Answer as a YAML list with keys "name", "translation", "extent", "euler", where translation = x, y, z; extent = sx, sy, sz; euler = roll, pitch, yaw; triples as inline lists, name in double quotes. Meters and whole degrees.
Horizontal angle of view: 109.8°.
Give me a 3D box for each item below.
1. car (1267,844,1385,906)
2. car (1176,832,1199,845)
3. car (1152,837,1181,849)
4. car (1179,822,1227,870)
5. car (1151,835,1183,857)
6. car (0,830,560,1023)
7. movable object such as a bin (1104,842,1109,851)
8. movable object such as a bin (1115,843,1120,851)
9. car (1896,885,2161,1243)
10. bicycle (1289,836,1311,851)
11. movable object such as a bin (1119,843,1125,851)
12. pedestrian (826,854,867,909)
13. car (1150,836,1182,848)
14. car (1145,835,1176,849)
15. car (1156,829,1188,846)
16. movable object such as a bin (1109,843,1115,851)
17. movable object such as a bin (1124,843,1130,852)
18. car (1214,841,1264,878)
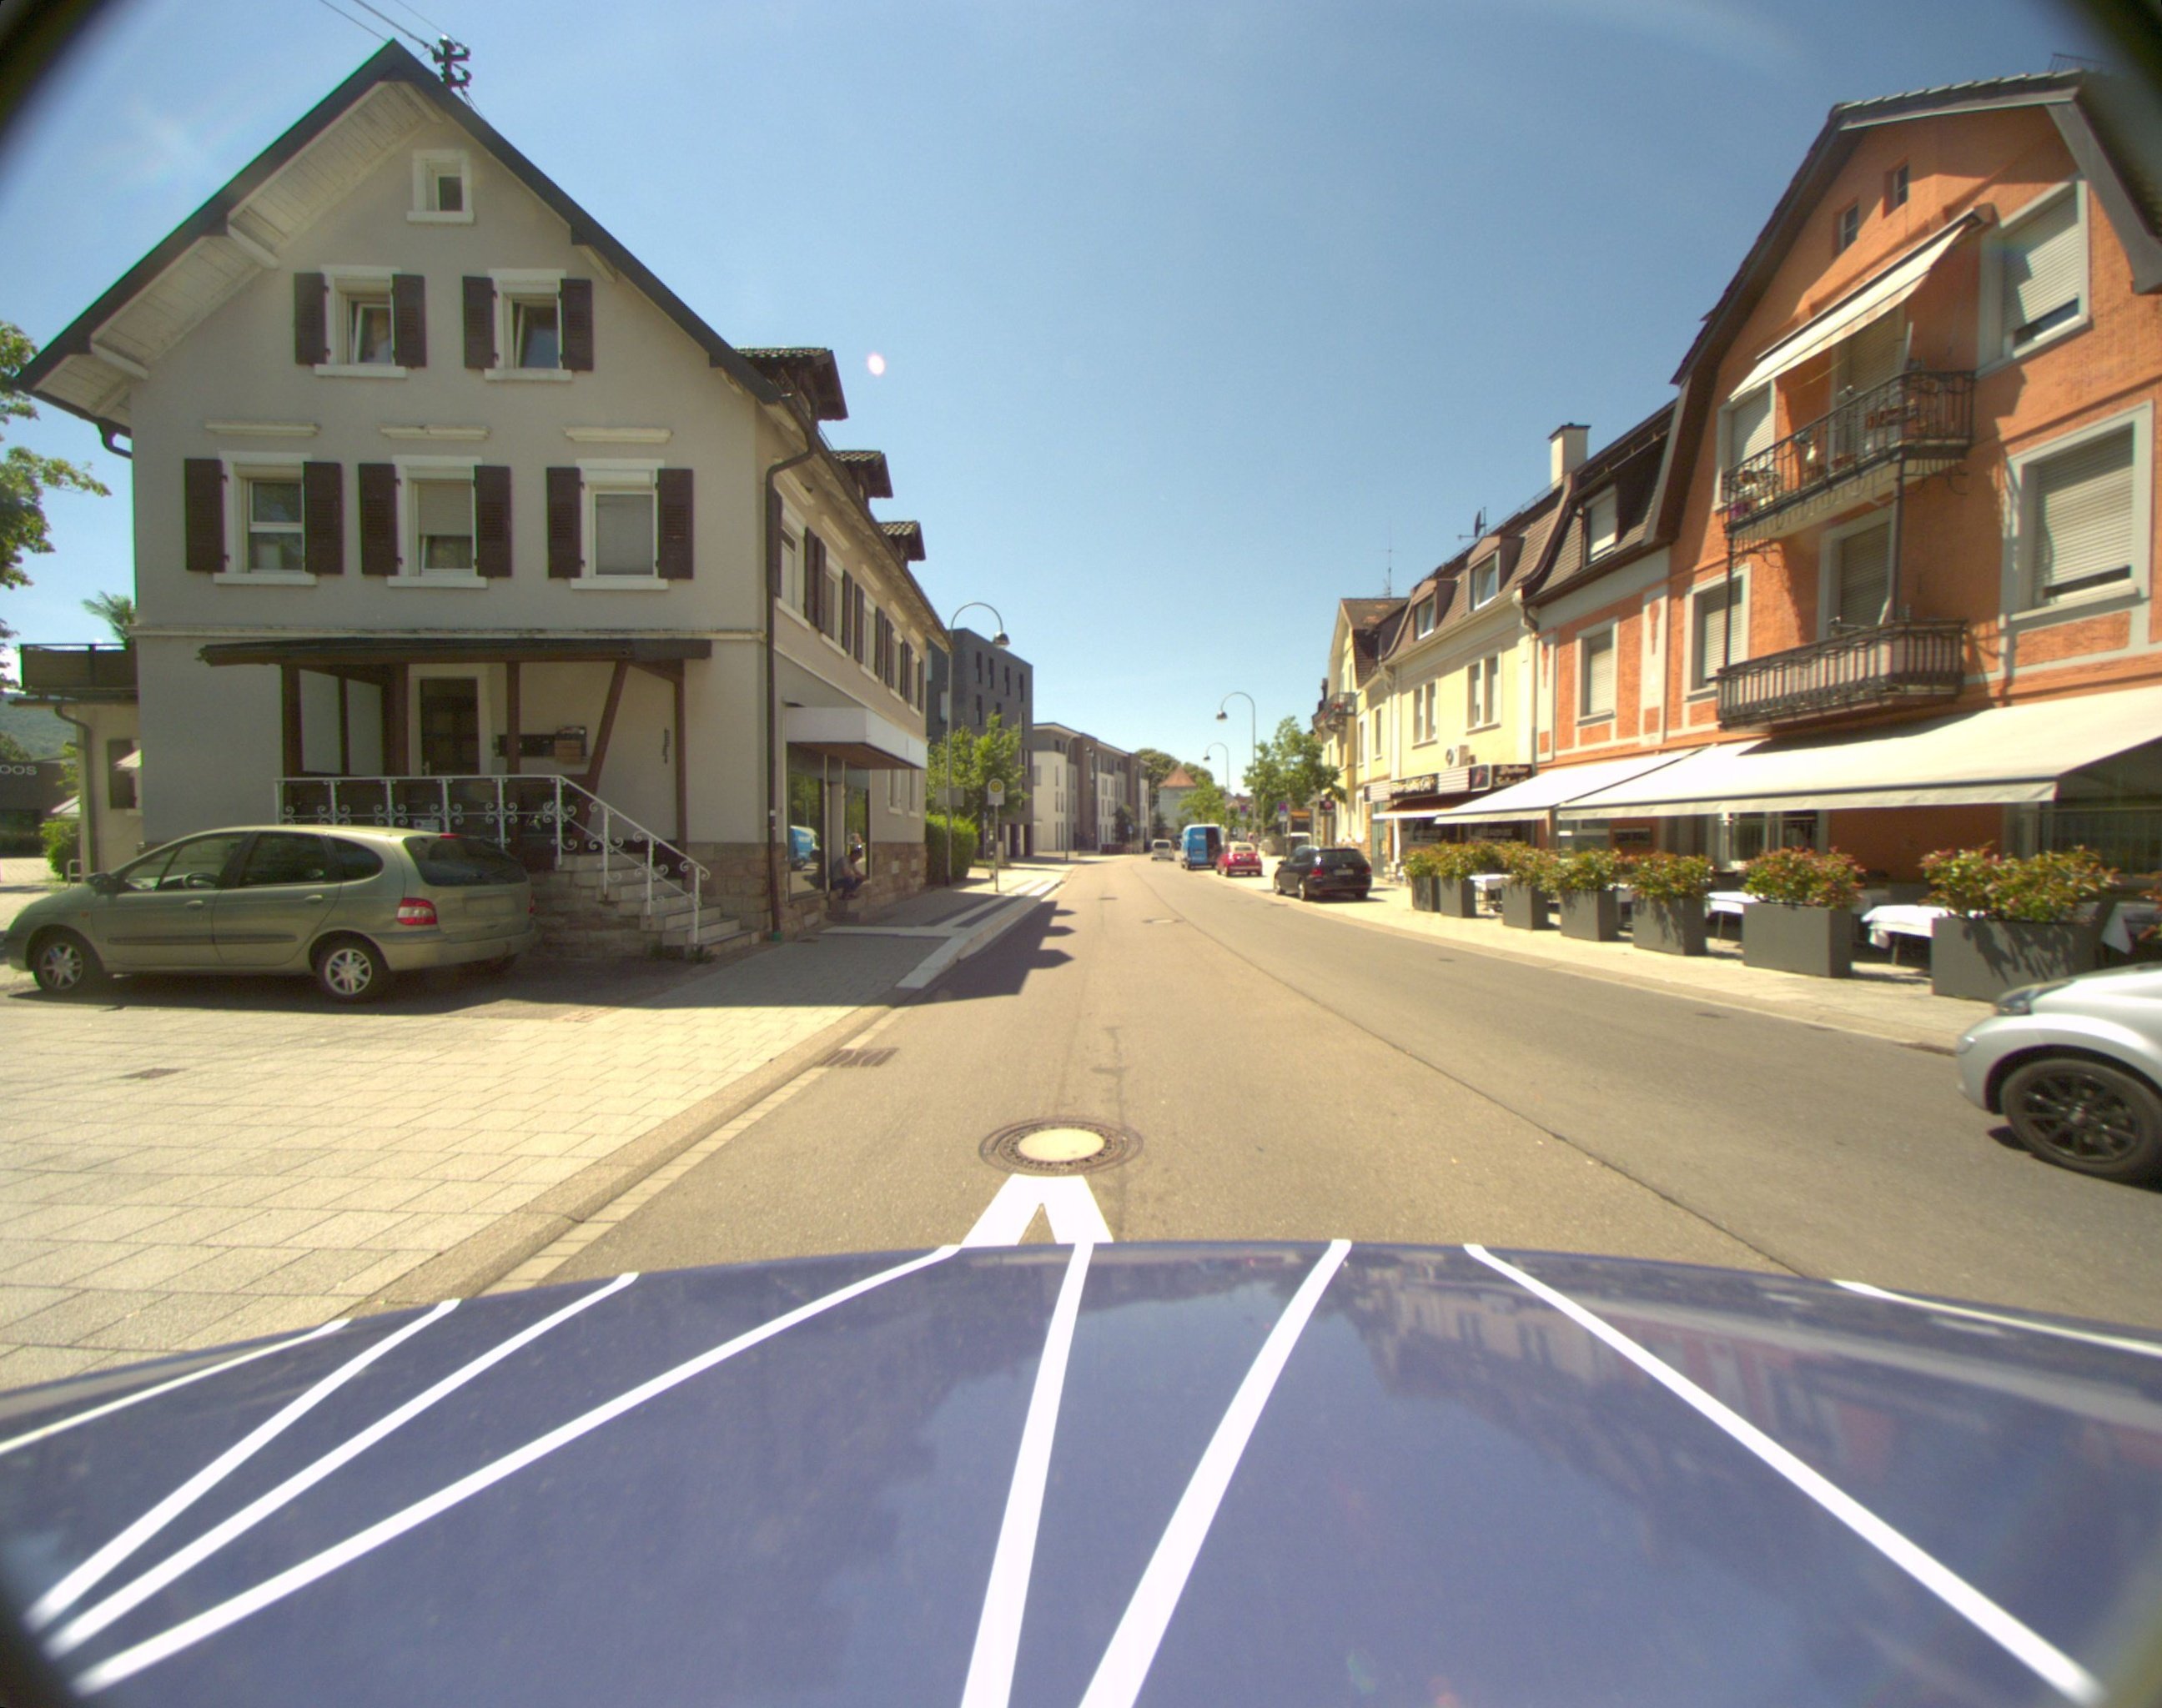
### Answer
- name: "car"
  translation: [6.754, 0.508, 21.462]
  extent: [1.920, 1.473, 4.336]
  euler: [-3, 1, 0]
- name: "car"
  translation: [11.728, -1.673, 83.404]
  extent: [1.917, 1.418, 3.985]
  euler: [0, 1, 18]
- name: "car"
  translation: [12.041, -1.562, 106.736]
  extent: [3.813, 1.454, 1.653]
  euler: [1, 3, 13]
- name: "car"
  translation: [6.854, -0.508, 43.301]
  extent: [2.097, 2.484, 5.503]
  euler: [-2, 1, 3]
- name: "car"
  translation: [7.482, -0.673, 65.953]
  extent: [1.996, 1.812, 4.420]
  euler: [1, 1, 17]
- name: "car"
  translation: [-7.855, 0.619, 7.593]
  extent: [4.071, 1.586, 1.802]
  euler: [2, 1, 1]
- name: "movable object such as a bin"
  translation: [2.868, -0.820, 85.234]
  extent: [0.473, 0.925, 0.529]
  euler: [2, 3, 18]
- name: "movable object such as a bin"
  translation: [4.064, -0.789, 84.838]
  extent: [0.473, 0.925, 0.529]
  euler: [2, 3, 18]
- name: "car"
  translation: [5.411, 0.914, 2.454]
  extent: [1.580, 1.442, 3.467]
  euler: [1, 1, -9]
- name: "bicycle"
  translation: [19.589, -0.924, 67.959]
  extent: [1.769, 1.227, 0.616]
  euler: [-2, 1, 2]
- name: "movable object such as a bin"
  translation: [4.576, -0.779, 84.679]
  extent: [0.473, 0.925, 0.529]
  euler: [2, 3, 18]
- name: "pedestrian"
  translation: [-4.445, 0.505, 14.441]
  extent: [0.591, 0.994, 0.723]
  euler: [1, 1, -4]
- name: "car"
  translation: [12.448, -1.779, 111.155]
  extent: [4.353, 1.543, 1.653]
  euler: [1, 4, 15]
- name: "car"
  translation: [10.598, -1.592, 101.621]
  extent: [3.812, 1.776, 1.842]
  euler: [1, 2, 16]
- name: "car"
  translation: [14.487, -2.678, 121.031]
  extent: [4.860, 2.721, 1.853]
  euler: [1, 2, 19]
- name: "movable object such as a bin"
  translation: [3.494, -0.800, 85.033]
  extent: [0.473, 0.925, 0.529]
  euler: [2, 3, 18]
- name: "movable object such as a bin"
  translation: [5.128, -0.754, 84.519]
  extent: [0.473, 0.925, 0.529]
  euler: [2, 3, 18]
- name: "car"
  translation: [7.123, 0.190, 34.581]
  extent: [1.563, 1.512, 3.514]
  euler: [-1, 2, 0]
